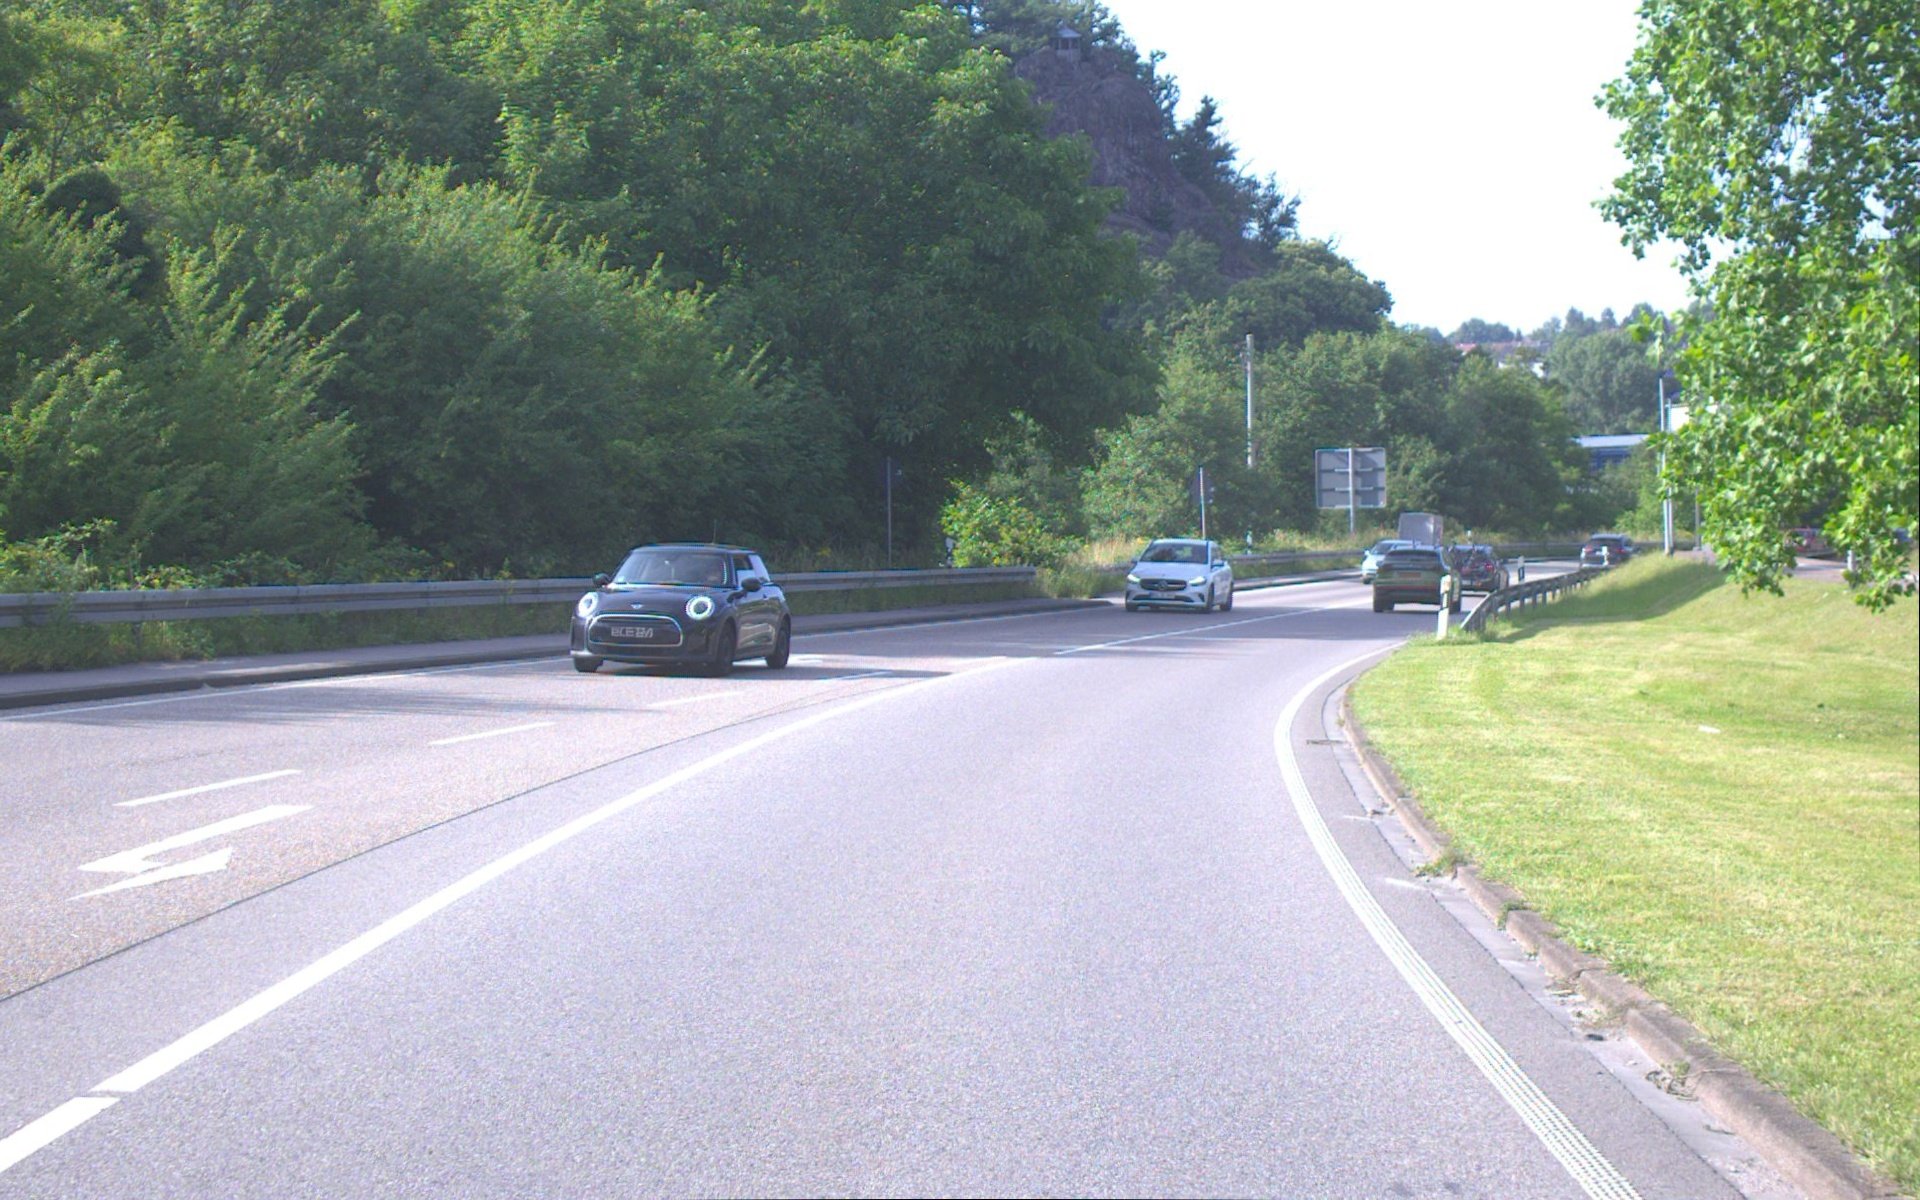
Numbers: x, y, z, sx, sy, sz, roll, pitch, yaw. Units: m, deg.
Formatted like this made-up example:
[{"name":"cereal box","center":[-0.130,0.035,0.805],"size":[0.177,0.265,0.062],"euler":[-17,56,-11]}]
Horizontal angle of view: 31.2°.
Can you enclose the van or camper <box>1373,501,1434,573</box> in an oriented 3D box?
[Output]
[{"name":"van or camper","center":[14.860,-2.121,115.132],"size":[1.603,2.320,4.057],"euler":[2,2,12]}]

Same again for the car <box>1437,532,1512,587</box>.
[{"name":"car","center":[14.442,-1.147,96.343],"size":[1.841,1.454,3.711],"euler":[-1,1,12]}]

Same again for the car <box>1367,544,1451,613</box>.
[{"name":"car","center":[9.992,-0.493,76.340],"size":[1.729,1.452,3.409],"euler":[-1,1,9]}]

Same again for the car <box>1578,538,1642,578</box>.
[{"name":"car","center":[24.616,-1.595,130.101],"size":[1.808,1.448,3.644],"euler":[-1,1,20]}]

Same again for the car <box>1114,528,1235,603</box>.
[{"name":"car","center":[4.581,-0.762,72.863],"size":[1.946,1.481,4.583],"euler":[1,2,11]}]

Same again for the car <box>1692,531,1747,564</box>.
[{"name":"car","center":[33.596,-2.336,152.088],"size":[1.810,1.403,3.769],"euler":[-1,1,21]}]

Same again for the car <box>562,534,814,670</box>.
[{"name":"car","center":[-2.959,-0.023,38.250],"size":[1.694,1.397,4.200],"euler":[1,1,11]}]
